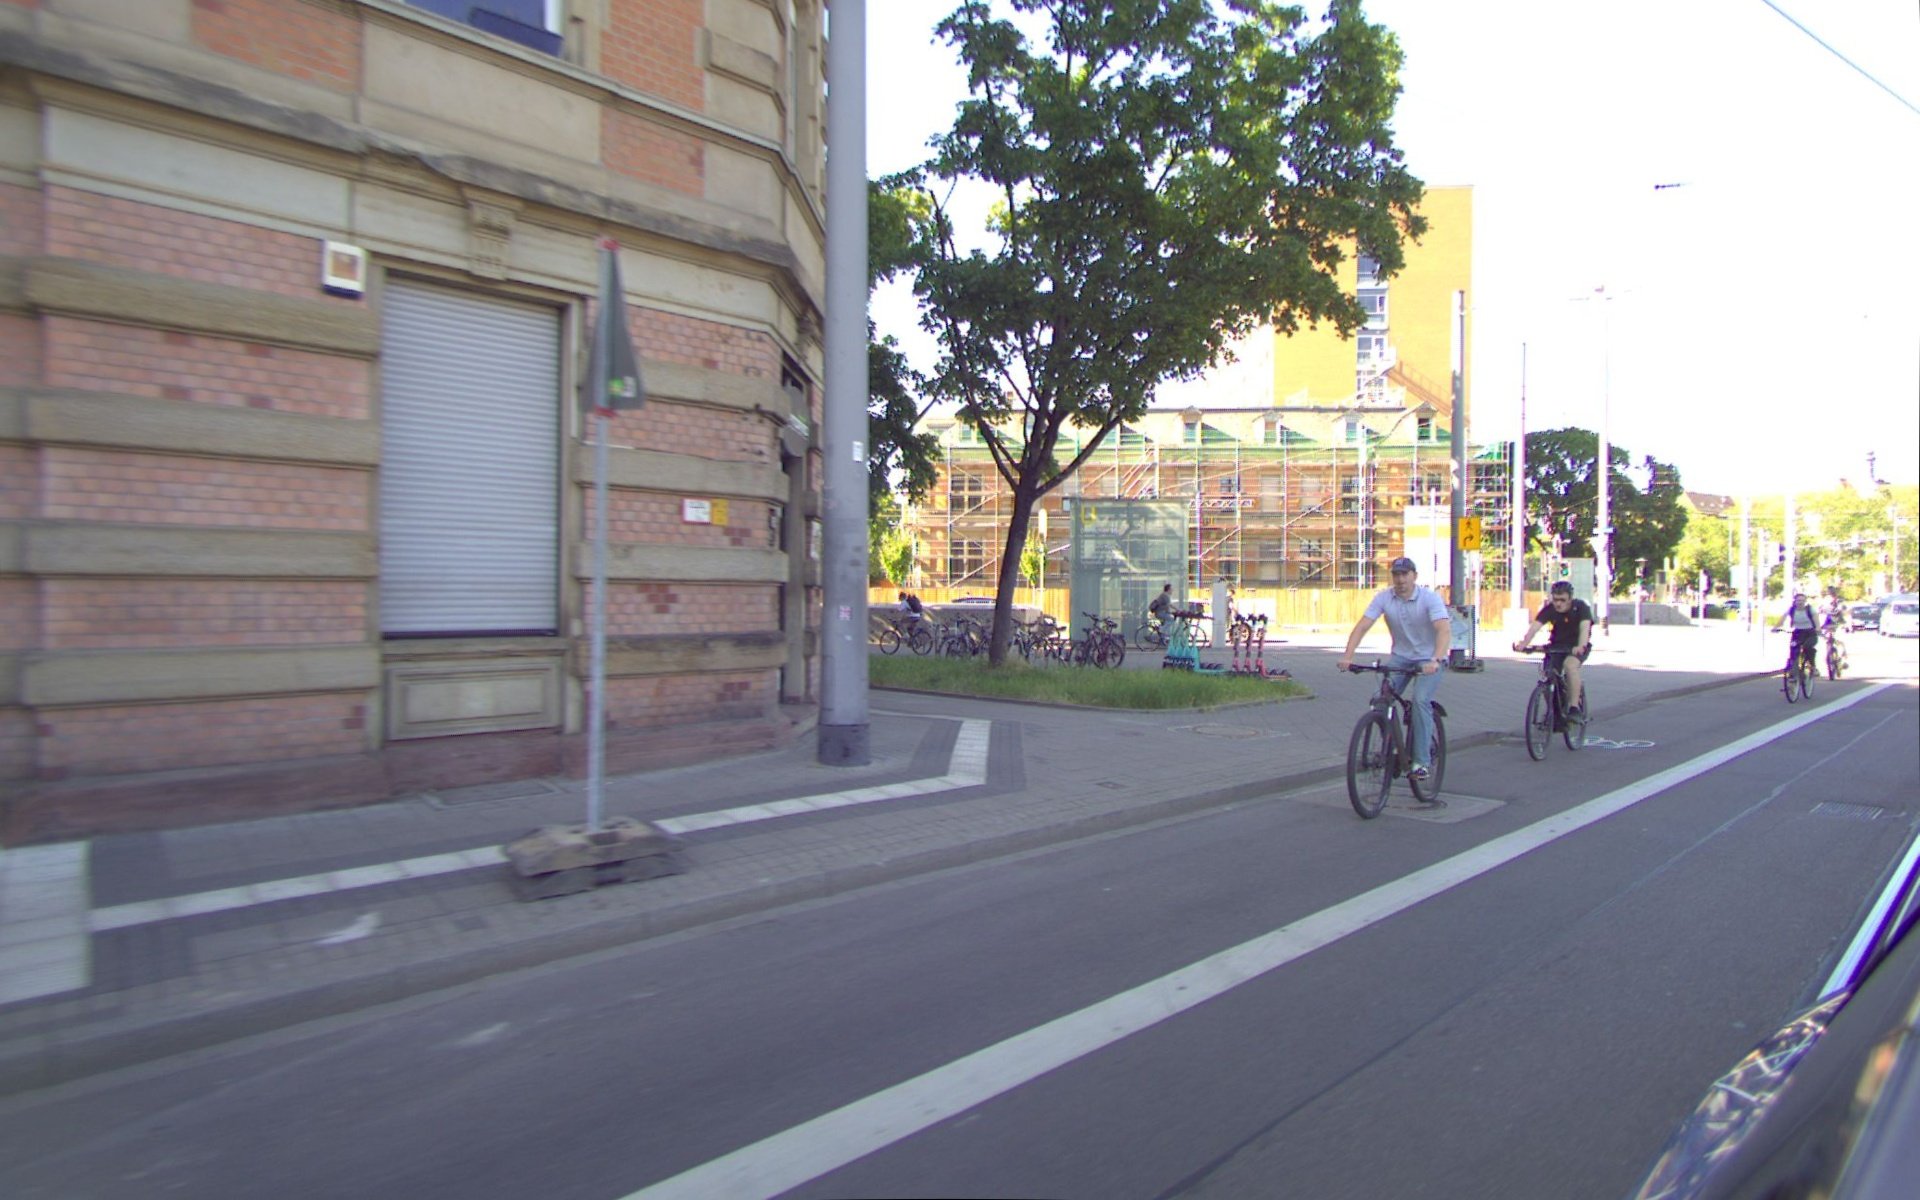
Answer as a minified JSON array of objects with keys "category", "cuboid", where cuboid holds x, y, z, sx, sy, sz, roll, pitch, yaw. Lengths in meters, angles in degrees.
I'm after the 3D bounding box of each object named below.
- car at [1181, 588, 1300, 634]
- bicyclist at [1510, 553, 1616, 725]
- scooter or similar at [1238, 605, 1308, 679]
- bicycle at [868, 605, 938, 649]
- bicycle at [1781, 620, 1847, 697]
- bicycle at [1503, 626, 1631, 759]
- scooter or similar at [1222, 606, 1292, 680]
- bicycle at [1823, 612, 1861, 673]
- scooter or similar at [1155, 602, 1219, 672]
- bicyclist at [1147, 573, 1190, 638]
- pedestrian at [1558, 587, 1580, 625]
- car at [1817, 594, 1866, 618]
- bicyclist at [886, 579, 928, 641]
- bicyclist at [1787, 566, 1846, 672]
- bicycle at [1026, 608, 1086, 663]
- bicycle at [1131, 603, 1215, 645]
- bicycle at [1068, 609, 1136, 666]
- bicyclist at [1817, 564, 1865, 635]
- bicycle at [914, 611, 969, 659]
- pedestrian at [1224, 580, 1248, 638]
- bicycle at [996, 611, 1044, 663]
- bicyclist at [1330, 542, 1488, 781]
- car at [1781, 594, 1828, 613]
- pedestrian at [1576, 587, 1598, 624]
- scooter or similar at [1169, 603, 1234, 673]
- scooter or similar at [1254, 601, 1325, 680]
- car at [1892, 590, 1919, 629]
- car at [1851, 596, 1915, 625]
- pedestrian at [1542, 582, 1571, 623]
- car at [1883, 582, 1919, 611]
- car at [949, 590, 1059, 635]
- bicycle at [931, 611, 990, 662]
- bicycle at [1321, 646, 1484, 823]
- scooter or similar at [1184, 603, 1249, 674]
[{"category":"car","cuboid":[10.616,0.411,38.532,4.184,1.641,1.913,0,1,11]},{"category":"bicyclist","cuboid":[6.063,0.365,10.163,0.964,1.634,0.624,-1,-1,-42]},{"category":"scooter or similar","cuboid":[5.290,0.682,17.056,1.674,1.172,0.270,-1,-1,-41]},{"category":"bicycle","cuboid":[-1.536,0.730,27.274,1.917,1.132,0.527,-1,-2,30]},{"category":"bicycle","cuboid":[13.376,0.883,15.835,1.900,1.132,0.532,1,-2,-42]},{"category":"bicycle","cuboid":[6.057,0.865,10.057,1.900,1.131,0.532,-2,1,-41]},{"category":"scooter or similar","cuboid":[5.081,0.709,17.266,1.674,1.178,0.270,-1,-1,-41]},{"category":"bicycle","cuboid":[18.222,0.853,20.907,0.531,1.173,1.837,-1,-1,43]},{"category":"scooter or similar","cuboid":[4.207,0.667,18.723,1.537,1.211,0.270,-1,-1,-41]},{"category":"bicyclist","cuboid":[5.505,0.157,26.742,1.029,1.681,0.453,-1,-1,9]},{"category":"pedestrian","cuboid":[28.263,0.277,46.951,0.659,1.779,0.810,-2,-1,45]},{"category":"car","cuboid":[60.783,0.417,69.834,1.872,1.586,3.968,-2,0,31]},{"category":"bicyclist","cuboid":[-1.415,0.264,27.186,0.946,1.634,0.593,-2,-1,33]},{"category":"bicyclist","cuboid":[13.612,0.288,16.075,0.936,1.634,0.551,-1,-1,-41]},{"category":"bicycle","cuboid":[1.989,0.726,20.935,1.328,1.075,0.404,-1,-1,-41]},{"category":"bicycle","cuboid":[5.603,0.623,26.708,2.159,1.072,0.487,0,-1,10]},{"category":"bicycle","cuboid":[2.820,0.727,20.078,1.455,1.075,0.404,-1,-1,-36]},{"category":"bicyclist","cuboid":[18.379,-0.007,21.100,0.674,1.439,1.020,-2,-1,44]},{"category":"bicycle","cuboid":[-0.420,0.804,23.733,0.403,1.075,1.440,-2,-1,42]},{"category":"pedestrian","cuboid":[9.086,0.298,33.285,0.639,1.872,0.546,-1,-1,7]},{"category":"bicycle","cuboid":[1.302,0.781,21.803,0.401,1.075,1.336,-2,-1,33]},{"category":"bicyclist","cuboid":[3.282,0.409,7.401,0.871,1.613,0.783,0,0,-43]},{"category":"car","cuboid":[68.608,0.291,82.297,1.903,1.477,4.625,-1,0,26]},{"category":"pedestrian","cuboid":[29.259,0.275,47.237,0.659,1.698,0.810,-2,-1,45]},{"category":"scooter or similar","cuboid":[4.417,0.678,18.465,1.537,1.200,0.270,-1,-1,-41]},{"category":"scooter or similar","cuboid":[5.505,0.645,16.852,1.674,1.235,0.270,-1,-1,-41]},{"category":"car","cuboid":[42.682,0.403,44.799,1.879,1.651,3.953,-2,0,41]},{"category":"car","cuboid":[52.455,0.579,57.600,1.872,1.586,3.968,-2,0,31]},{"category":"pedestrian","cuboid":[28.840,0.136,48.929,0.931,1.954,1.032,-2,-1,45]},{"category":"car","cuboid":[93.093,-0.354,99.204,2.220,2.715,5.262,-2,0,24]},{"category":"car","cuboid":[1.784,0.468,40.325,4.184,1.707,1.913,0,1,11]},{"category":"bicycle","cuboid":[0.030,0.799,22.492,0.403,1.075,1.438,-2,-1,44]},{"category":"bicycle","cuboid":[3.286,0.915,7.418,1.901,1.082,0.386,0,0,-44]},{"category":"scooter or similar","cuboid":[4.630,0.672,18.230,1.537,1.200,0.270,-1,-1,-41]}]
